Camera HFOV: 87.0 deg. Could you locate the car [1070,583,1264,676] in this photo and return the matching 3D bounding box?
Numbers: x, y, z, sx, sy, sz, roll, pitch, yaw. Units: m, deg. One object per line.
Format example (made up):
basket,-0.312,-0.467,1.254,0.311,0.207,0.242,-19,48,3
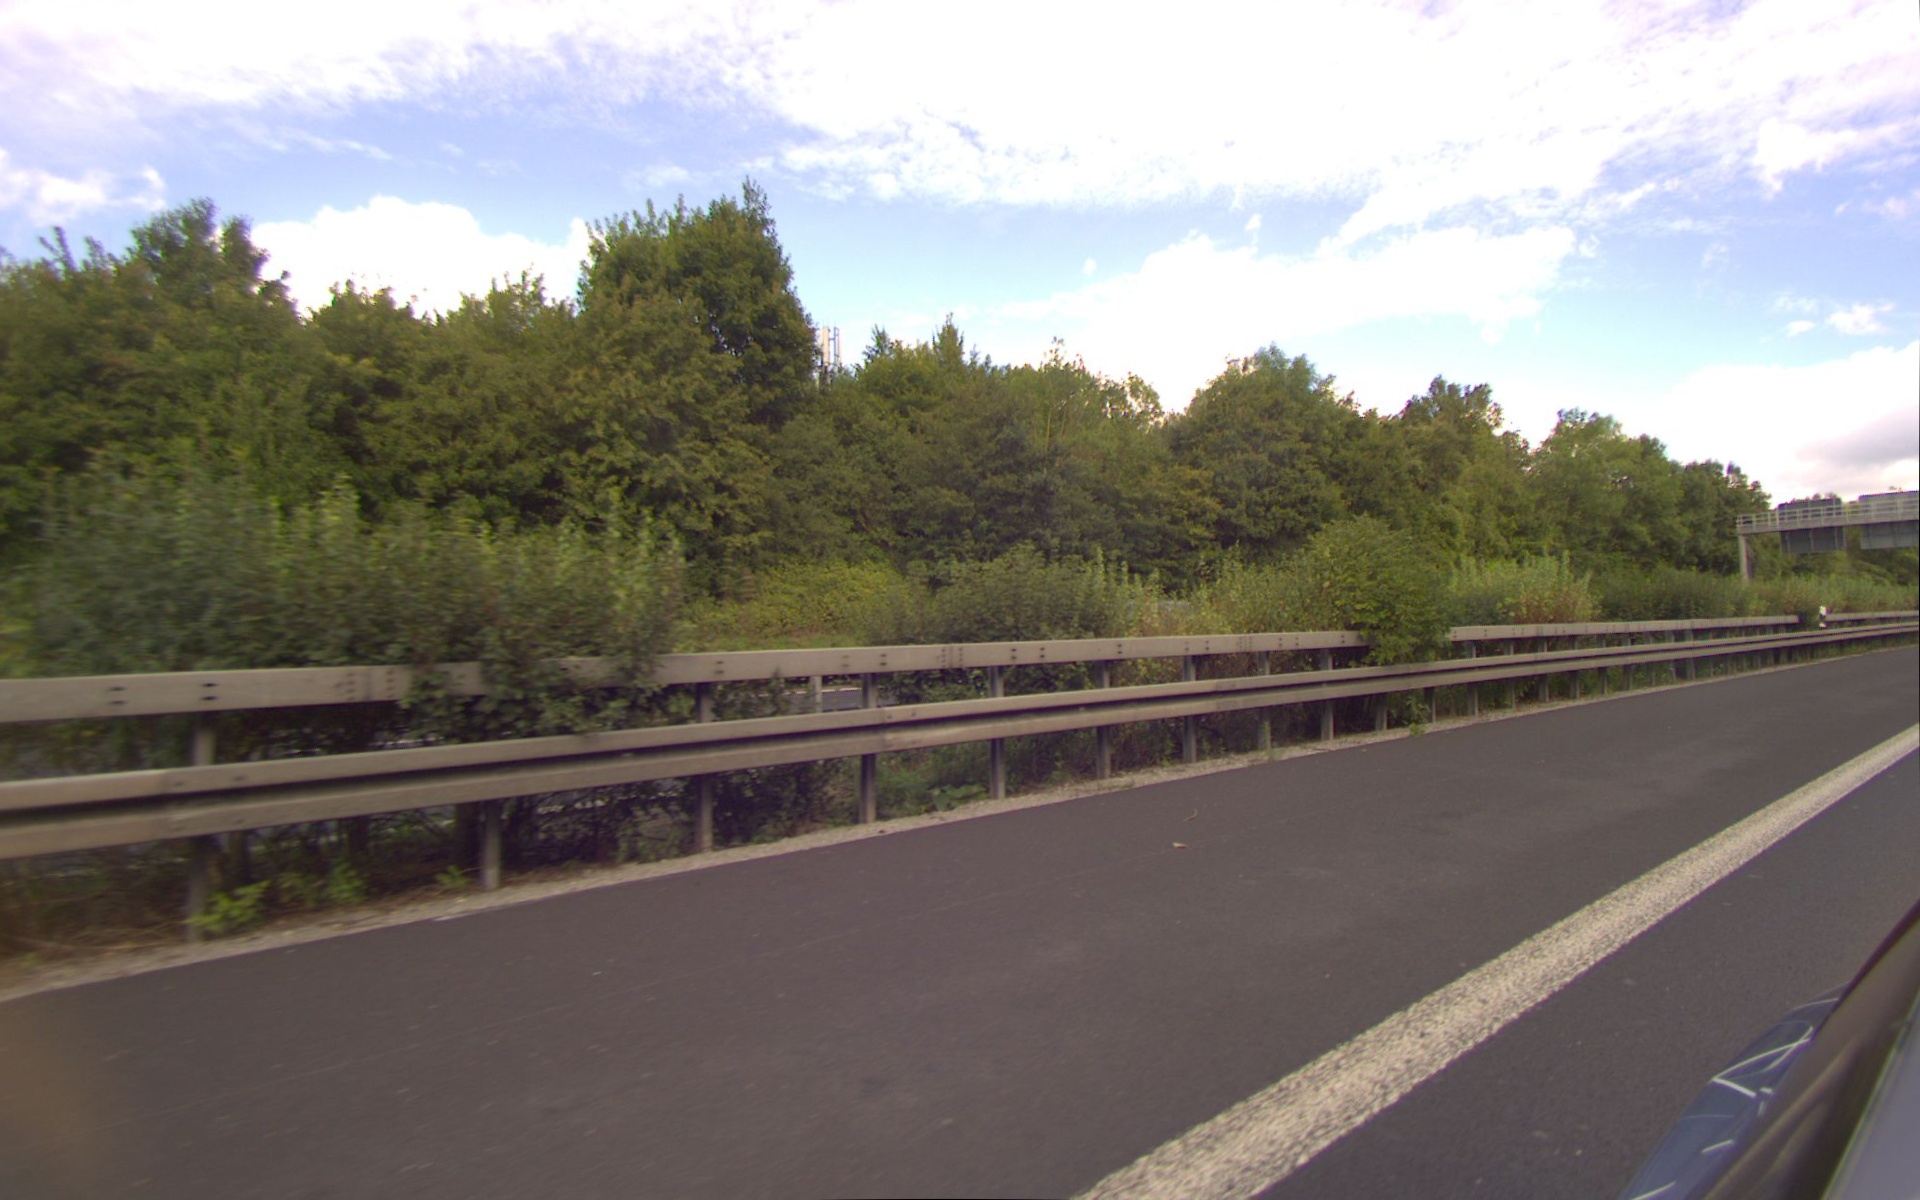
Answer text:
car,5.096,0.631,24.578,4.820,2.039,1.998,0,0,-38
